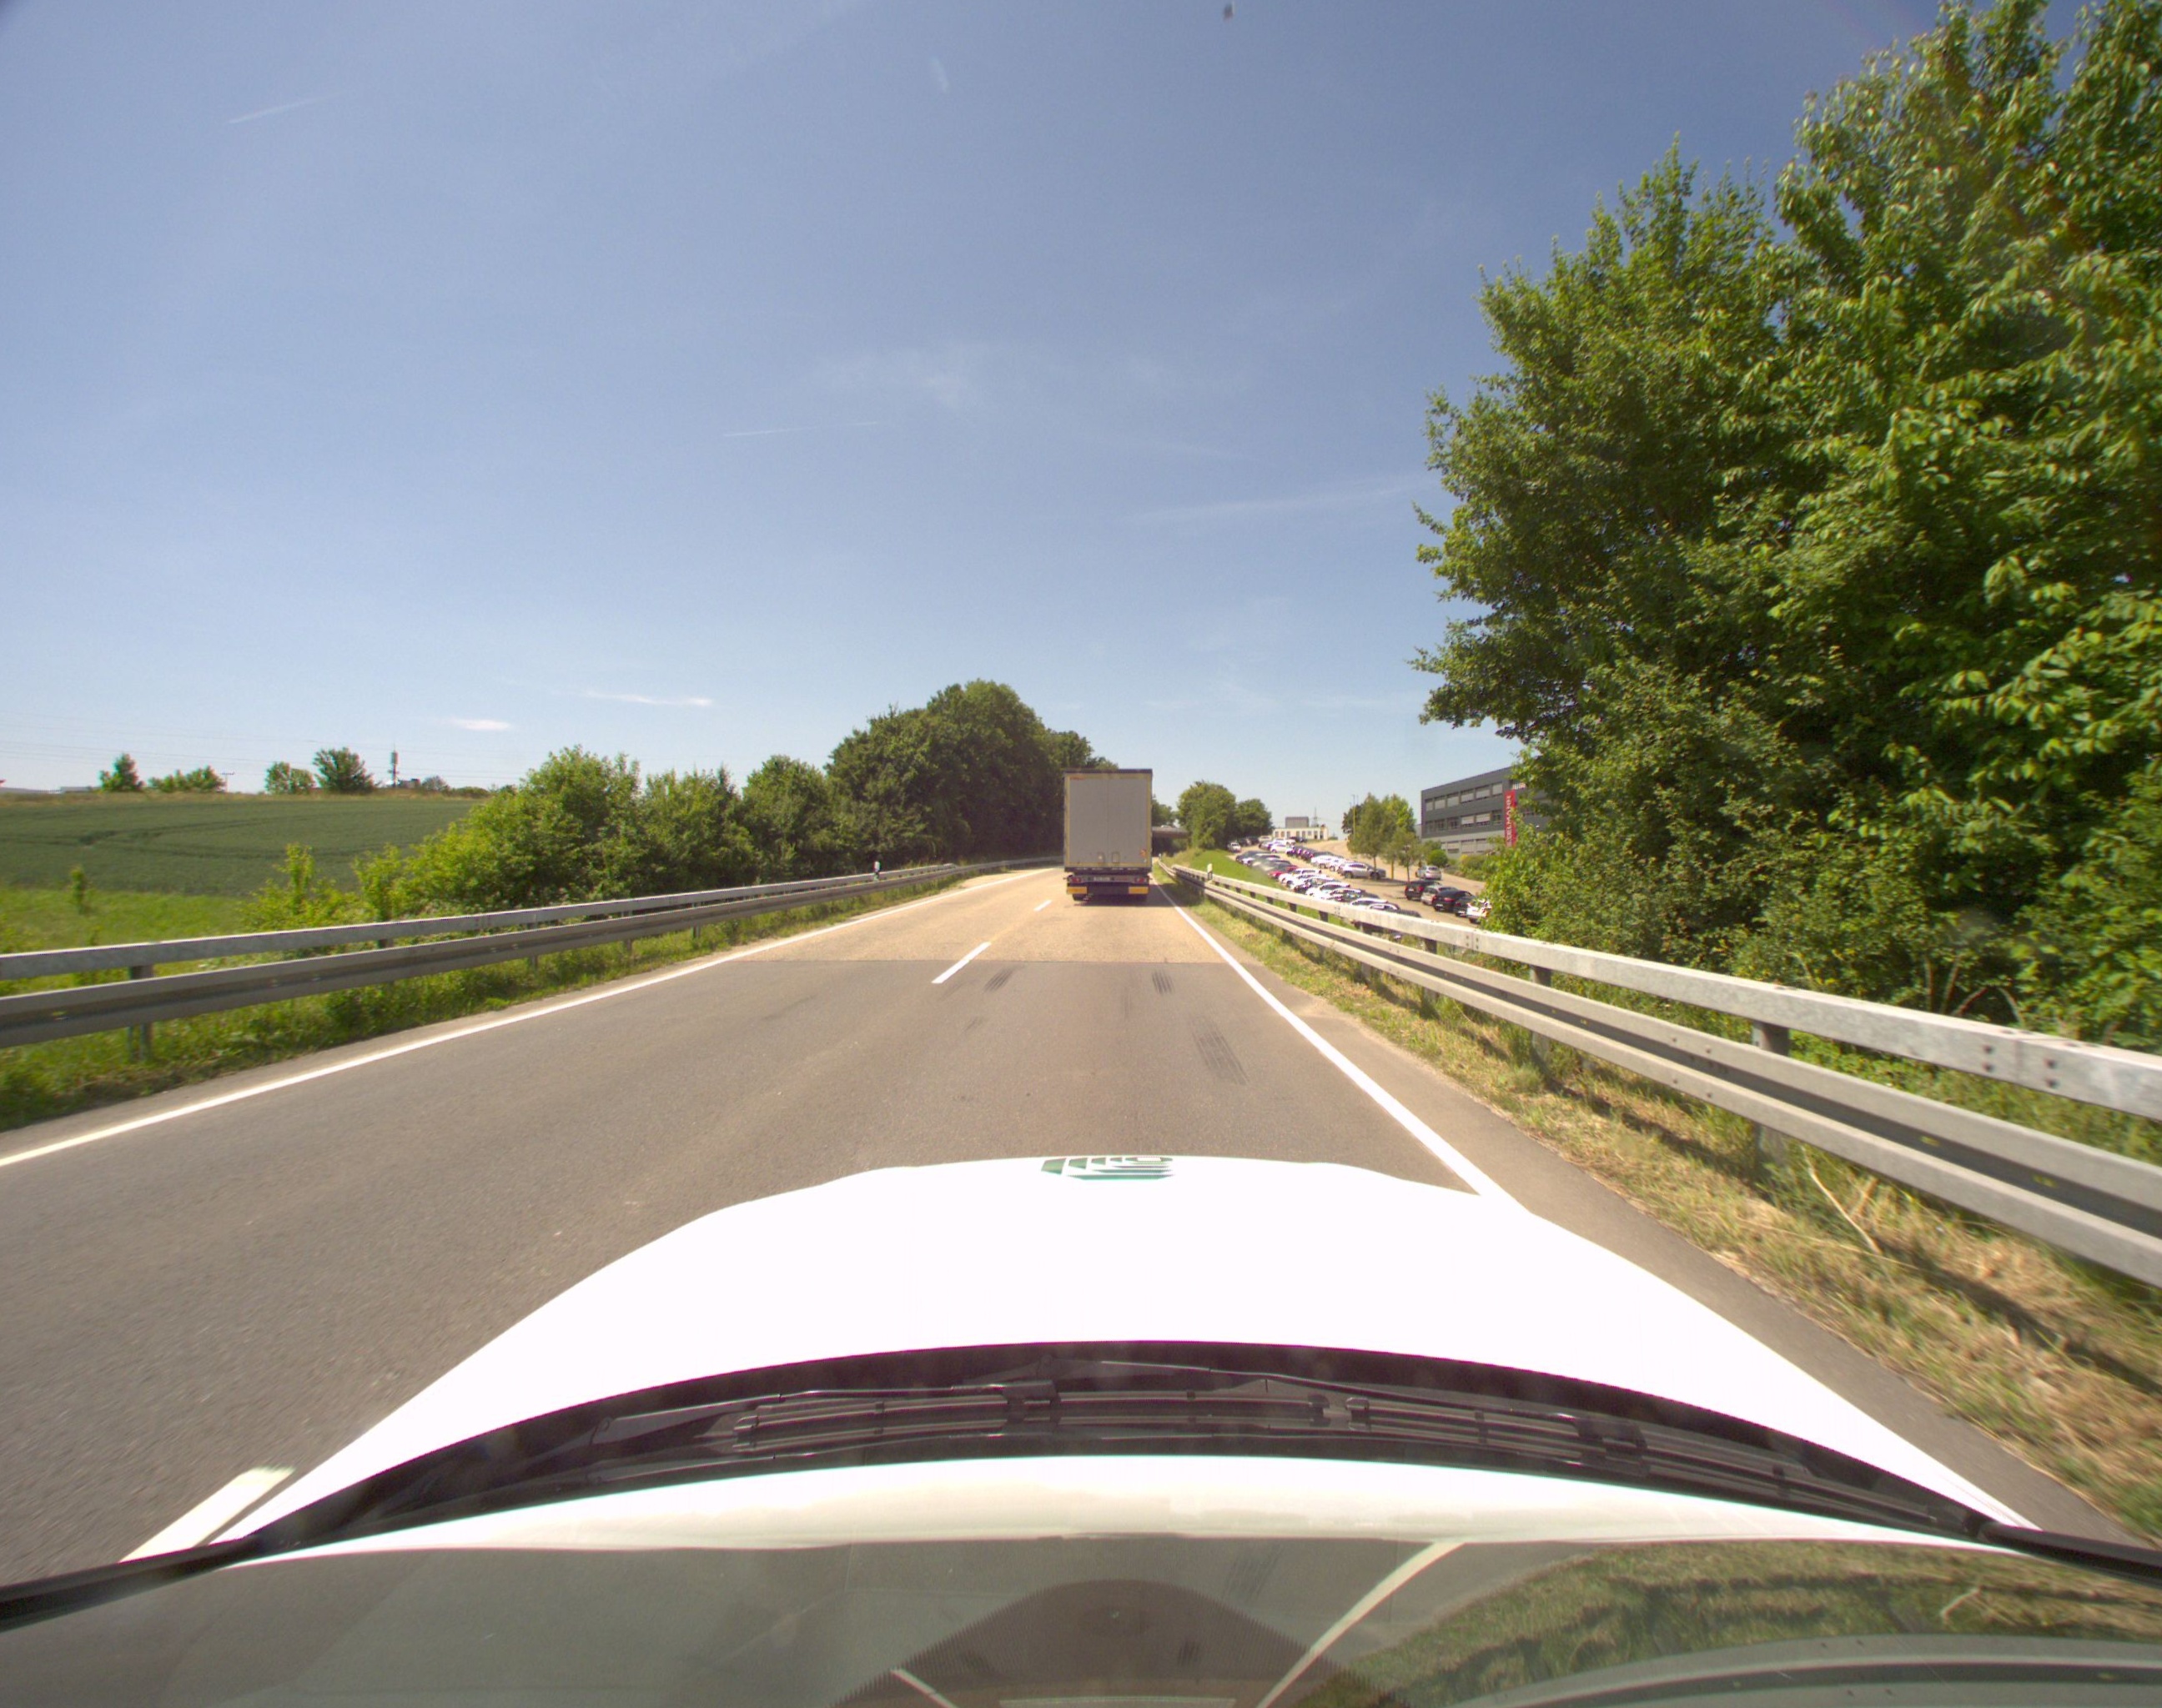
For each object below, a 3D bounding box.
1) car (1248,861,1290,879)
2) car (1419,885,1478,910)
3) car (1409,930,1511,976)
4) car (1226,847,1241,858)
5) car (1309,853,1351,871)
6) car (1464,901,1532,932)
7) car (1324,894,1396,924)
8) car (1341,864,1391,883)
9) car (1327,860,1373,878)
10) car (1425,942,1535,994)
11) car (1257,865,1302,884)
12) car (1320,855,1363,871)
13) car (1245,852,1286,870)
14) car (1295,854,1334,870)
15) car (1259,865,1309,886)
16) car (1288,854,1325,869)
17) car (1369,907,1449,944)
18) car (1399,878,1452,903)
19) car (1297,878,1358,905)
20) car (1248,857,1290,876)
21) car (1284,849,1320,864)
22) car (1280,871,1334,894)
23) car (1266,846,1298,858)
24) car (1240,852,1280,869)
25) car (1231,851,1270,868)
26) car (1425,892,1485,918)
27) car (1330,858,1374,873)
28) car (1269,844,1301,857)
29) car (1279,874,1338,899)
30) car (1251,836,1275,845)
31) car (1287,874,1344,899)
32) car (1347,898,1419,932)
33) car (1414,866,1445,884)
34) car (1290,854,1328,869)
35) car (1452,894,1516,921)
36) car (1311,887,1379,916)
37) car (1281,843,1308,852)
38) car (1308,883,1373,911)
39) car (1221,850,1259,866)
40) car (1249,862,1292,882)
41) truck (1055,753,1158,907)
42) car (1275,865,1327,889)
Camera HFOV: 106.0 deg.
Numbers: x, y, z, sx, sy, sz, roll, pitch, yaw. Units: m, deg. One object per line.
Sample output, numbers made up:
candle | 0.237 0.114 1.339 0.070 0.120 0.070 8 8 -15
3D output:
car | 20.784 1.777 89.883 4.392 1.685 1.870 3 3 -33
car | 29.114 3.412 64.518 4.599 1.539 1.805 0 5 -29
car | 20.195 5.241 43.450 4.668 1.487 1.926 7 3 30
car | 24.675 -0.284 131.650 1.619 1.353 3.712 5 3 1
car | 30.441 0.951 99.567 4.530 1.628 1.832 7 3 31
car | 28.642 4.242 55.863 4.599 1.659 1.805 0 5 -29
car | 19.206 3.749 56.105 4.323 1.394 1.830 7 3 31
car | 29.365 1.969 83.956 4.528 1.628 1.832 2 4 29
car | 29.847 1.649 90.265 4.529 1.627 1.833 3 7 29
car | 19.771 5.591 40.373 4.668 1.563 1.972 7 3 30
car | 20.412 2.121 83.879 4.392 1.685 1.870 3 3 -33
car | 30.689 1.051 95.951 4.528 1.519 1.833 2 5 35
car | 21.916 0.844 96.612 4.383 1.685 1.874 4 3 -24
car | 30.890 1.005 107.625 4.530 1.628 1.832 7 3 31
car | 20.194 2.111 80.896 4.374 1.685 1.878 4 3 -18
car | 31.562 1.087 114.143 4.530 1.628 1.832 7 3 31
car | 20.112 4.337 49.942 4.325 1.490 1.721 7 3 26
car | 28.700 3.044 67.828 4.253 1.628 1.805 -2 6 -29
car | 19.805 3.017 65.496 4.324 1.558 1.873 7 3 28
car | 21.565 1.427 93.342 4.383 1.685 1.874 4 3 -24
car | 31.756 0.341 117.235 4.530 1.628 1.832 7 3 31
car | 20.601 2.553 74.268 4.323 1.558 1.900 7 4 33
car | 31.868 -0.353 129.139 4.531 1.628 1.831 4 2 25
car | 22.001 0.795 99.966 4.383 1.685 1.874 4 3 -24
car | 21.440 0.679 103.021 4.383 1.685 1.874 4 3 -24
car | 28.256 3.791 61.421 4.602 1.512 1.803 -1 5 -32
car | 30.869 1.294 92.787 4.528 1.477 1.832 -1 4 29
car | 31.608 -0.560 126.307 4.531 1.628 1.831 4 2 25
car | 19.197 2.723 68.709 4.324 1.558 1.899 7 3 28
car | 37.671 -2.838 168.541 4.383 1.685 1.874 0 5 -24
car | 20.417 2.782 70.818 4.324 1.558 1.899 7 3 28
car | 19.700 3.934 53.175 4.076 1.517 1.689 7 3 27
car | 36.862 2.192 86.180 1.798 1.662 4.006 3 1 5
car | 31.091 0.991 111.243 4.530 1.628 1.832 7 3 31
car | 29.225 3.831 59.041 4.599 1.512 1.805 0 5 -29
car | 19.401 3.450 59.872 4.323 1.455 1.830 7 3 31
car | 40.210 -1.235 153.732 4.528 1.628 1.832 3 1 39
car | 19.839 3.266 62.346 4.324 1.455 1.830 7 3 28
car | 20.707 0.487 105.963 4.383 1.685 1.874 4 3 -24
car | 20.159 1.925 86.647 4.392 1.685 1.870 3 3 -33
truck | 0.913 -0.734 28.161 2.855 4.359 9.794 1 1 2
car | 20.918 2.153 77.494 4.406 1.685 1.899 7 3 26
